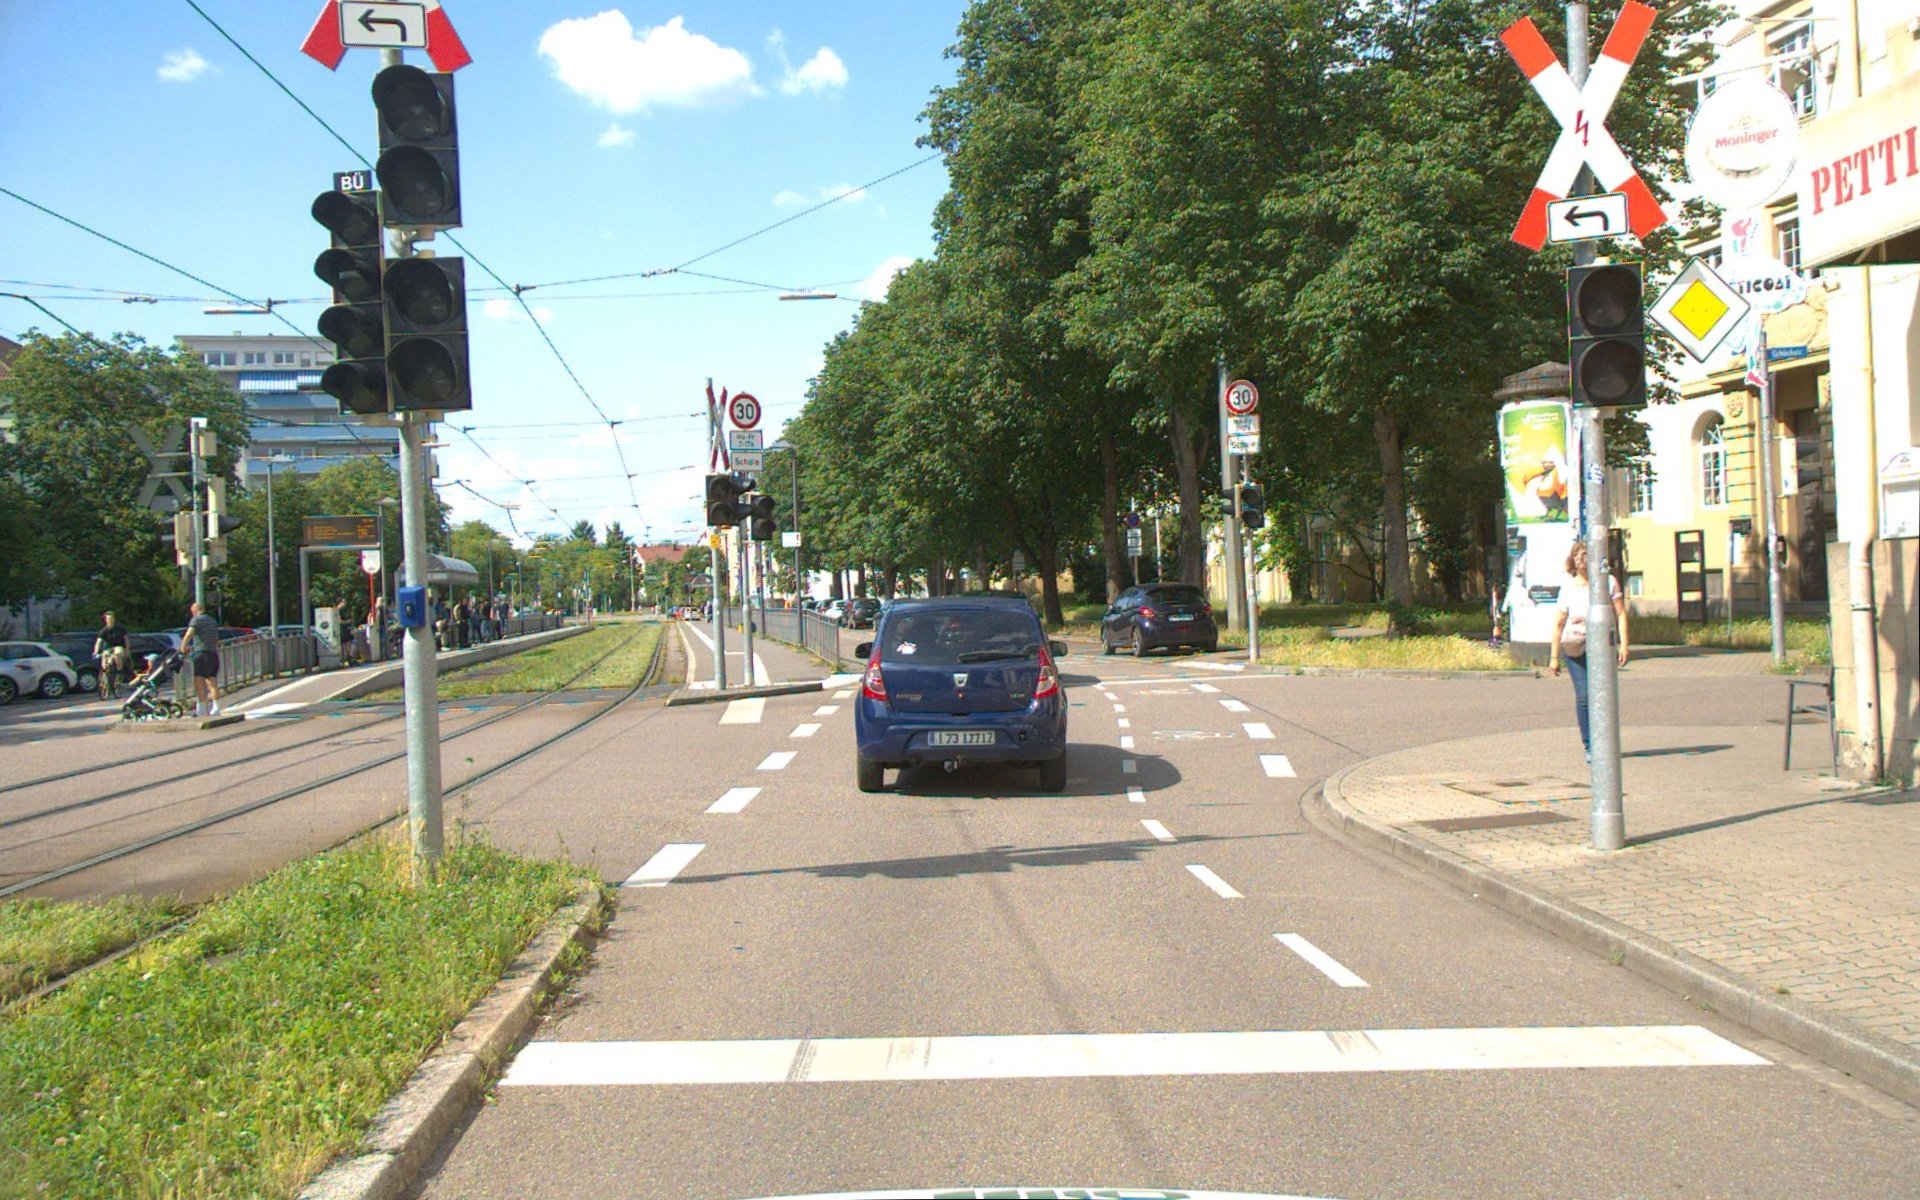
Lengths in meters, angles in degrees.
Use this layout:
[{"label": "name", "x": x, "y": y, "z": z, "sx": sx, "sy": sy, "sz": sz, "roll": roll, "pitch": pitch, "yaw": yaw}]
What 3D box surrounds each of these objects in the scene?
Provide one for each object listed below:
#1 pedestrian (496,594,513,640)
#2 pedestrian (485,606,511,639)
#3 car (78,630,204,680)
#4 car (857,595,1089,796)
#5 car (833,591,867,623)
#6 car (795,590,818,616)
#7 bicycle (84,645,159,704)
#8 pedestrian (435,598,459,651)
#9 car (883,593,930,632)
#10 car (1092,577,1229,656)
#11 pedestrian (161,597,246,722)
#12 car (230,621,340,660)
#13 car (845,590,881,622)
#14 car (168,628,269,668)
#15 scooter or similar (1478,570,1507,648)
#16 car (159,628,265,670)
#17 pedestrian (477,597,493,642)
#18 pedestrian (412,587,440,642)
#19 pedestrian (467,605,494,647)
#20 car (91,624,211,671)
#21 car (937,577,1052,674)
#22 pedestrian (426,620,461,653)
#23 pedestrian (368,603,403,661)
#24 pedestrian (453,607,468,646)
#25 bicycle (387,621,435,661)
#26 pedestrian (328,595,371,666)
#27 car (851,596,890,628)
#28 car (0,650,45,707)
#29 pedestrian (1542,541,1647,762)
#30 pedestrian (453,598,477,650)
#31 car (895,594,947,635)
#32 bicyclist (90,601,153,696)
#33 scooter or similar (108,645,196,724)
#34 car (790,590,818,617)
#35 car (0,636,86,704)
[{"label": "pedestrian", "x": -20.742, "y": 0.762, "z": 75.297, "sx": 0.650, "sy": 2.048, "sz": 0.800, "roll": -3, "pitch": 0, "yaw": -17}, {"label": "pedestrian", "x": -21.743, "y": 1.048, "z": 77.812, "sx": 1.016, "sy": 1.462, "sz": 0.698, "roll": -4, "pitch": 1, "yaw": -24}, {"label": "car", "x": -25.650, "y": 1.714, "z": 51.856, "sx": 1.425, "sy": 1.332, "sz": 3.239, "roll": -2, "pitch": 0, "yaw": 32}, {"label": "car", "x": 0.083, "y": 0.714, "z": 14.337, "sx": 1.732, "sy": 1.487, "sz": 3.775, "roll": -1, "pitch": 0, "yaw": -1}, {"label": "car", "x": -6.512, "y": 0.417, "z": 97.521, "sx": 1.588, "sy": 1.780, "sz": 3.992, "roll": -3, "pitch": 0, "yaw": -9}, {"label": "car", "x": -11.360, "y": 0.234, "z": 122.283, "sx": 1.635, "sy": 1.802, "sz": 3.995, "roll": -3, "pitch": 0, "yaw": -5}, {"label": "bicycle", "x": -19.004, "y": 1.669, "z": 37.528, "sx": 1.136, "sy": 1.198, "sz": 1.780, "roll": -4, "pitch": 0, "yaw": -16}, {"label": "pedestrian", "x": -17.743, "y": 0.843, "z": 57.164, "sx": 0.582, "sy": 1.766, "sz": 0.556, "roll": -3, "pitch": 0, "yaw": -5}, {"label": "car", "x": -2.325, "y": 0.523, "z": 71.484, "sx": 1.815, "sy": 1.542, "sz": 3.997, "roll": -3, "pitch": 0, "yaw": -4}, {"label": "car", "x": 4.143, "y": 0.336, "z": 34.769, "sx": 1.734, "sy": 1.458, "sz": 3.894, "roll": -3, "pitch": 0, "yaw": -10}, {"label": "pedestrian", "x": -11.564, "y": 0.891, "z": 25.314, "sx": 0.856, "sy": 1.806, "sz": 1.000, "roll": -4, "pitch": 1, "yaw": -12}, {"label": "car", "x": -28.764, "y": 1.715, "z": 70.555, "sx": 1.684, "sy": 1.391, "sz": 3.981, "roll": -3, "pitch": 1, "yaw": 39}, {"label": "car", "x": -5.258, "y": 0.317, "z": 89.319, "sx": 1.792, "sy": 1.564, "sz": 3.997, "roll": -3, "pitch": 0, "yaw": -4}, {"label": "car", "x": -28.344, "y": 1.811, "z": 63.314, "sx": 1.426, "sy": 1.332, "sz": 3.236, "roll": -2, "pitch": 0, "yaw": 34}, {"label": "scooter or similar", "x": 8.526, "y": 0.129, "z": 26.502, "sx": 0.299, "sy": 1.210, "sz": 1.163, "roll": -2, "pitch": 0, "yaw": 13}, {"label": "car", "x": -27.441, "y": 1.788, "z": 60.744, "sx": 1.426, "sy": 1.332, "sz": 3.236, "roll": -2, "pitch": 0, "yaw": 34}, {"label": "pedestrian", "x": -18.623, "y": 0.769, "z": 64.857, "sx": 0.481, "sy": 1.742, "sz": 0.461, "roll": -3, "pitch": 0, "yaw": -19}, {"label": "pedestrian", "x": -17.138, "y": 0.475, "z": 53.097, "sx": 0.643, "sy": 1.721, "sz": 0.655, "roll": -3, "pitch": 0, "yaw": -9}, {"label": "pedestrian", "x": -17.069, "y": 0.928, "z": 58.935, "sx": 0.641, "sy": 1.450, "sz": 0.562, "roll": -3, "pitch": 0, "yaw": 28}, {"label": "car", "x": -26.501, "y": 1.554, "z": 54.258, "sx": 1.426, "sy": 1.332, "sz": 3.236, "roll": -2, "pitch": 0, "yaw": 34}, {"label": "car", "x": 0.496, "y": 0.350, "z": 25.952, "sx": 1.665, "sy": 1.391, "sz": 3.514, "roll": -1, "pitch": 1, "yaw": -1}, {"label": "pedestrian", "x": -17.089, "y": 1.211, "z": 54.710, "sx": 0.907, "sy": 1.006, "sz": 0.796, "roll": -4, "pitch": -1, "yaw": -7}, {"label": "pedestrian", "x": -16.170, "y": 0.895, "z": 46.579, "sx": 0.650, "sy": 1.596, "sz": 0.685, "roll": -4, "pitch": 0, "yaw": -2}, {"label": "pedestrian", "x": -19.541, "y": 1.033, "z": 64.672, "sx": 0.481, "sy": 1.477, "sz": 0.461, "roll": -3, "pitch": 0, "yaw": -19}, {"label": "bicycle", "x": -15.426, "y": 1.144, "z": 46.500, "sx": 0.672, "sy": 0.991, "sz": 1.771, "roll": -5, "pitch": 1, "yaw": 0}, {"label": "pedestrian", "x": -15.349, "y": 0.763, "z": 41.567, "sx": 0.699, "sy": 1.756, "sz": 0.666, "roll": -2, "pitch": 0, "yaw": 32}, {"label": "car", "x": -4.544, "y": 0.629, "z": 83.794, "sx": 1.825, "sy": 1.470, "sz": 3.996, "roll": -4, "pitch": 0, "yaw": -4}, {"label": "car", "x": -22.907, "y": 1.867, "z": 37.578, "sx": 1.516, "sy": 1.257, "sz": 3.370, "roll": -2, "pitch": 0, "yaw": 41}, {"label": "pedestrian", "x": 5.025, "y": 0.398, "z": 13.138, "sx": 0.658, "sy": 1.677, "sz": 0.764, "roll": -3, "pitch": 0, "yaw": 19}, {"label": "pedestrian", "x": -17.426, "y": 0.832, "z": 58.234, "sx": 0.592, "sy": 1.796, "sz": 0.639, "roll": -2, "pitch": 0, "yaw": 0}, {"label": "car", "x": -1.614, "y": 0.558, "z": 66.779, "sx": 1.825, "sy": 1.470, "sz": 3.997, "roll": -4, "pitch": 0, "yaw": -4}, {"label": "bicyclist", "x": -19.016, "y": 1.078, "z": 37.541, "sx": 0.932, "sy": 2.049, "sz": 1.569, "roll": -3, "pitch": 0, "yaw": -17}, {"label": "scooter or similar", "x": -12.174, "y": 1.262, "z": 24.948, "sx": 0.937, "sy": 1.083, "sz": 0.795, "roll": -5, "pitch": 1, "yaw": -10}, {"label": "car", "x": -10.969, "y": 0.251, "z": 116.184, "sx": 1.794, "sy": 1.792, "sz": 3.997, "roll": -3, "pitch": 0, "yaw": -4}, {"label": "car", "x": -23.464, "y": 1.744, "z": 40.420, "sx": 1.517, "sy": 1.531, "sz": 3.368, "roll": -3, "pitch": 0, "yaw": 42}]
